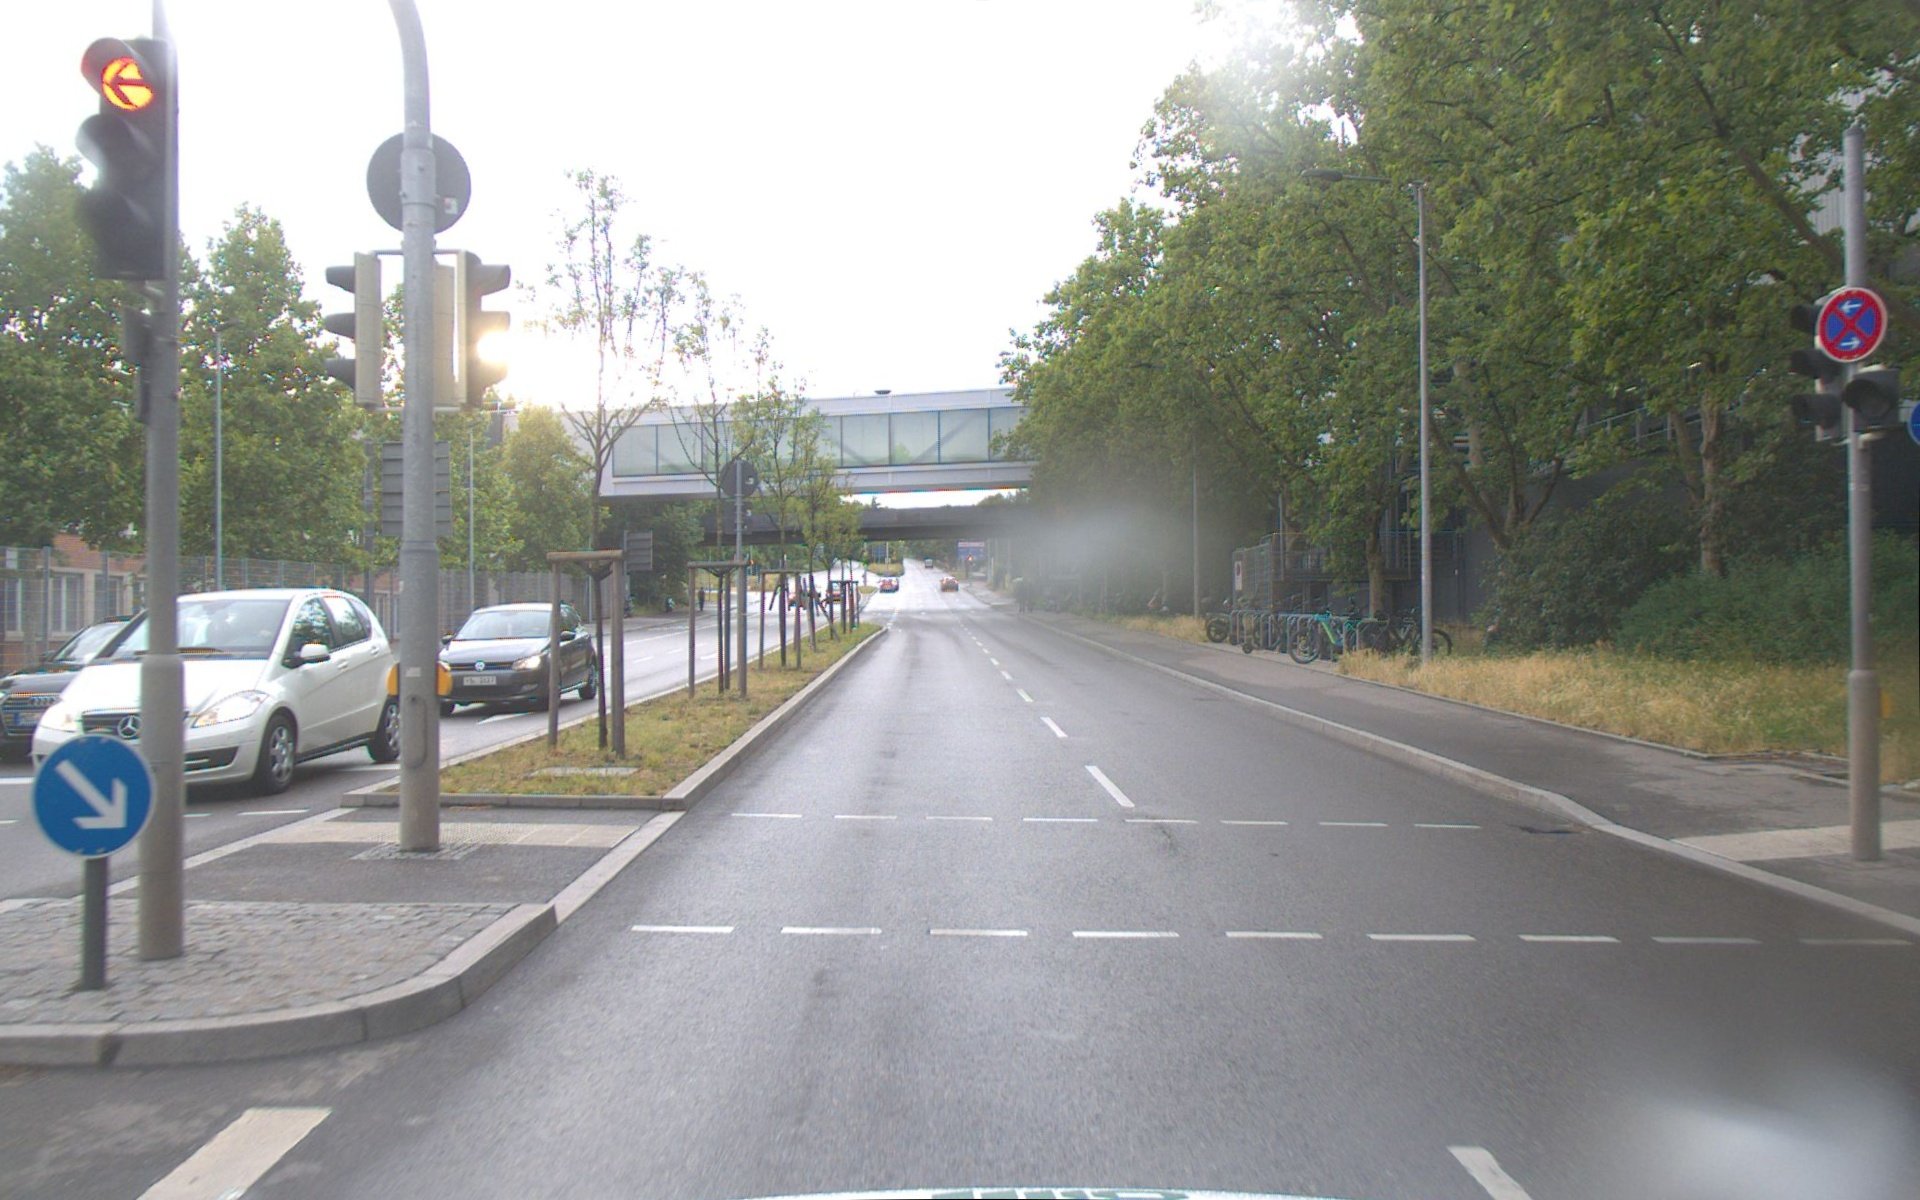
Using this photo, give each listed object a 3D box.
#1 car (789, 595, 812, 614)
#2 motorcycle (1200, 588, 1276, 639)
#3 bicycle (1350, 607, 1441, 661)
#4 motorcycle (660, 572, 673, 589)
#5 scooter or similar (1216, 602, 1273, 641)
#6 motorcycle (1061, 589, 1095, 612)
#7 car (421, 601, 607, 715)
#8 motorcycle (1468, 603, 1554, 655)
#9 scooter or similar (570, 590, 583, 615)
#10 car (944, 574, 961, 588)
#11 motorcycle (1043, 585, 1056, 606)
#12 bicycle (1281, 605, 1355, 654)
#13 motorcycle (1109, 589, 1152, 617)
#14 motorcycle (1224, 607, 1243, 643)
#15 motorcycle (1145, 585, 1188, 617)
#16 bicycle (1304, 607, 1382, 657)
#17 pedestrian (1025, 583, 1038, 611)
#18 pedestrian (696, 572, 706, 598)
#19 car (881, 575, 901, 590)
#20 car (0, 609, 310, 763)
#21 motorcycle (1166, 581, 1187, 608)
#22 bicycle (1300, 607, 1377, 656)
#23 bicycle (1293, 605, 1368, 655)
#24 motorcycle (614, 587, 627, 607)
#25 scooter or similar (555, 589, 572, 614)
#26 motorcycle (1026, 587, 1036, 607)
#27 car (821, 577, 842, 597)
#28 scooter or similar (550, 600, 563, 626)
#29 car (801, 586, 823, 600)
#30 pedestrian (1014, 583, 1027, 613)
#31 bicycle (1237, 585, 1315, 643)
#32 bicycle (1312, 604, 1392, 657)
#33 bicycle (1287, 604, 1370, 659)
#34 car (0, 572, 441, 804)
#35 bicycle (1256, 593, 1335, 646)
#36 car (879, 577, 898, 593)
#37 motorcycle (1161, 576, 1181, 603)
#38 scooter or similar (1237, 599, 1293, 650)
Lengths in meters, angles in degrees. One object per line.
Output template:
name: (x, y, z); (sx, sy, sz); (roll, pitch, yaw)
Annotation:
car: (-13.098, 0.380, 136.075); (1.681, 1.462, 3.770); (-2, 0, -3)
motorcycle: (7.445, 0.355, 44.217); (1.966, 1.295, 0.442); (-1, 0, 11)
bicycle: (8.092, 0.630, 30.765); (1.575, 0.956, 0.387); (-2, 0, -2)
motorcycle: (-20.587, -1.378, 116.047); (0.459, 1.179, 1.933); (-1, 1, 2)
scooter or similar: (7.361, 0.558, 42.772); (1.450, 0.953, 0.364); (-1, 0, -19)
motorcycle: (6.927, 0.015, 97.066); (1.904, 1.320, 0.546); (-1, 0, 34)
car: (-6.175, 0.748, 23.351); (1.546, 1.428, 4.110); (-2, 0, -1)
motorcycle: (11.425, 0.595, 34.303); (1.575, 1.019, 0.577); (-2, 0, -2)
scooter or similar: (-19.581, 0.105, 84.465); (0.305, 1.239, 1.308); (-1, 1, 3)
car: (-0.869, -2.051, 179.588); (1.710, 1.495, 4.165); (0, 2, -2)
motorcycle: (5.321, -0.263, 98.179); (0.460, 1.234, 1.943); (-1, 0, -4)
bicycle: (7.862, 0.650, 36.367); (1.520, 1.022, 0.393); (-1, 0, -2)
motorcycle: (7.599, 0.144, 73.778); (1.819, 1.212, 0.519); (-1, 1, -17)
motorcycle: (10.772, 0.992, 65.090); (0.494, 1.389, 1.503); (1, 0, 0)
motorcycle: (7.954, 0.036, 63.775); (1.618, 1.170, 0.493); (1, -1, 6)
bicycle: (7.987, 0.665, 34.489); (1.520, 0.975, 0.393); (-1, 0, -2)
pedestrian: (4.187, -0.165, 96.911); (0.636, 1.624, 0.579); (-1, 0, 10)
pedestrian: (-18.967, -1.092, 121.094); (0.508, 1.847, 0.800); (0, 1, 8)
car: (-7.912, -1.968, 190.512); (2.122, 1.610, 4.663); (1, 0, 0)
car: (-8.975, 0.851, 18.344); (1.737, 1.428, 4.614); (-2, 0, -1)
motorcycle: (10.305, -0.261, 78.754); (0.632, 1.302, 1.990); (-1, 0, -2)
bicycle: (7.973, 0.657, 34.890); (1.520, 0.975, 0.393); (-1, 0, -2)
bicycle: (7.960, 0.633, 35.550); (1.520, 1.022, 0.393); (-1, 0, -2)
motorcycle: (-20.679, -0.185, 100.749); (0.459, 1.226, 1.996); (-1, 1, -2)
scooter or similar: (-19.577, 0.075, 81.643); (0.305, 1.239, 1.309); (-1, 1, 10)
motorcycle: (4.159, -0.204, 97.024); (0.460, 1.156, 1.818); (-1, 0, -2)
car: (-11.010, -1.133, 141.926); (1.553, 1.633, 3.854); (-2, 0, -2)
scooter or similar: (-19.457, 0.621, 79.729); (0.305, 1.239, 1.307); (-1, 1, -1)
car: (-15.145, -0.712, 169.242); (2.022, 1.385, 4.754); (-1, 1, -3)
pedestrian: (3.550, -0.126, 97.028); (0.598, 1.751, 0.892); (-1, 0, 8)
bicycle: (7.747, 0.345, 40.573); (1.826, 1.372, 0.446); (-1, 0, -14)
bicycle: (7.953, 0.617, 33.566); (1.520, 1.022, 0.393); (-1, 0, -2)
bicycle: (7.244, 0.618, 32.542); (1.520, 1.022, 0.393); (-1, 0, -2)
car: (-6.021, 0.640, 14.093); (1.735, 1.617, 4.485); (-2, 0, 0)
bicycle: (7.866, 0.462, 38.790); (1.754, 1.187, 0.447); (-1, 0, -8)
car: (-7.787, -1.618, 179.716); (2.035, 1.748, 4.195); (1, 0, -3)
motorcycle: (10.648, -0.531, 83.566); (0.341, 1.301, 2.069); (-1, 1, 26)
scooter or similar: (6.900, 0.547, 37.457); (1.189, 1.110, 0.312); (-1, 0, -6)
